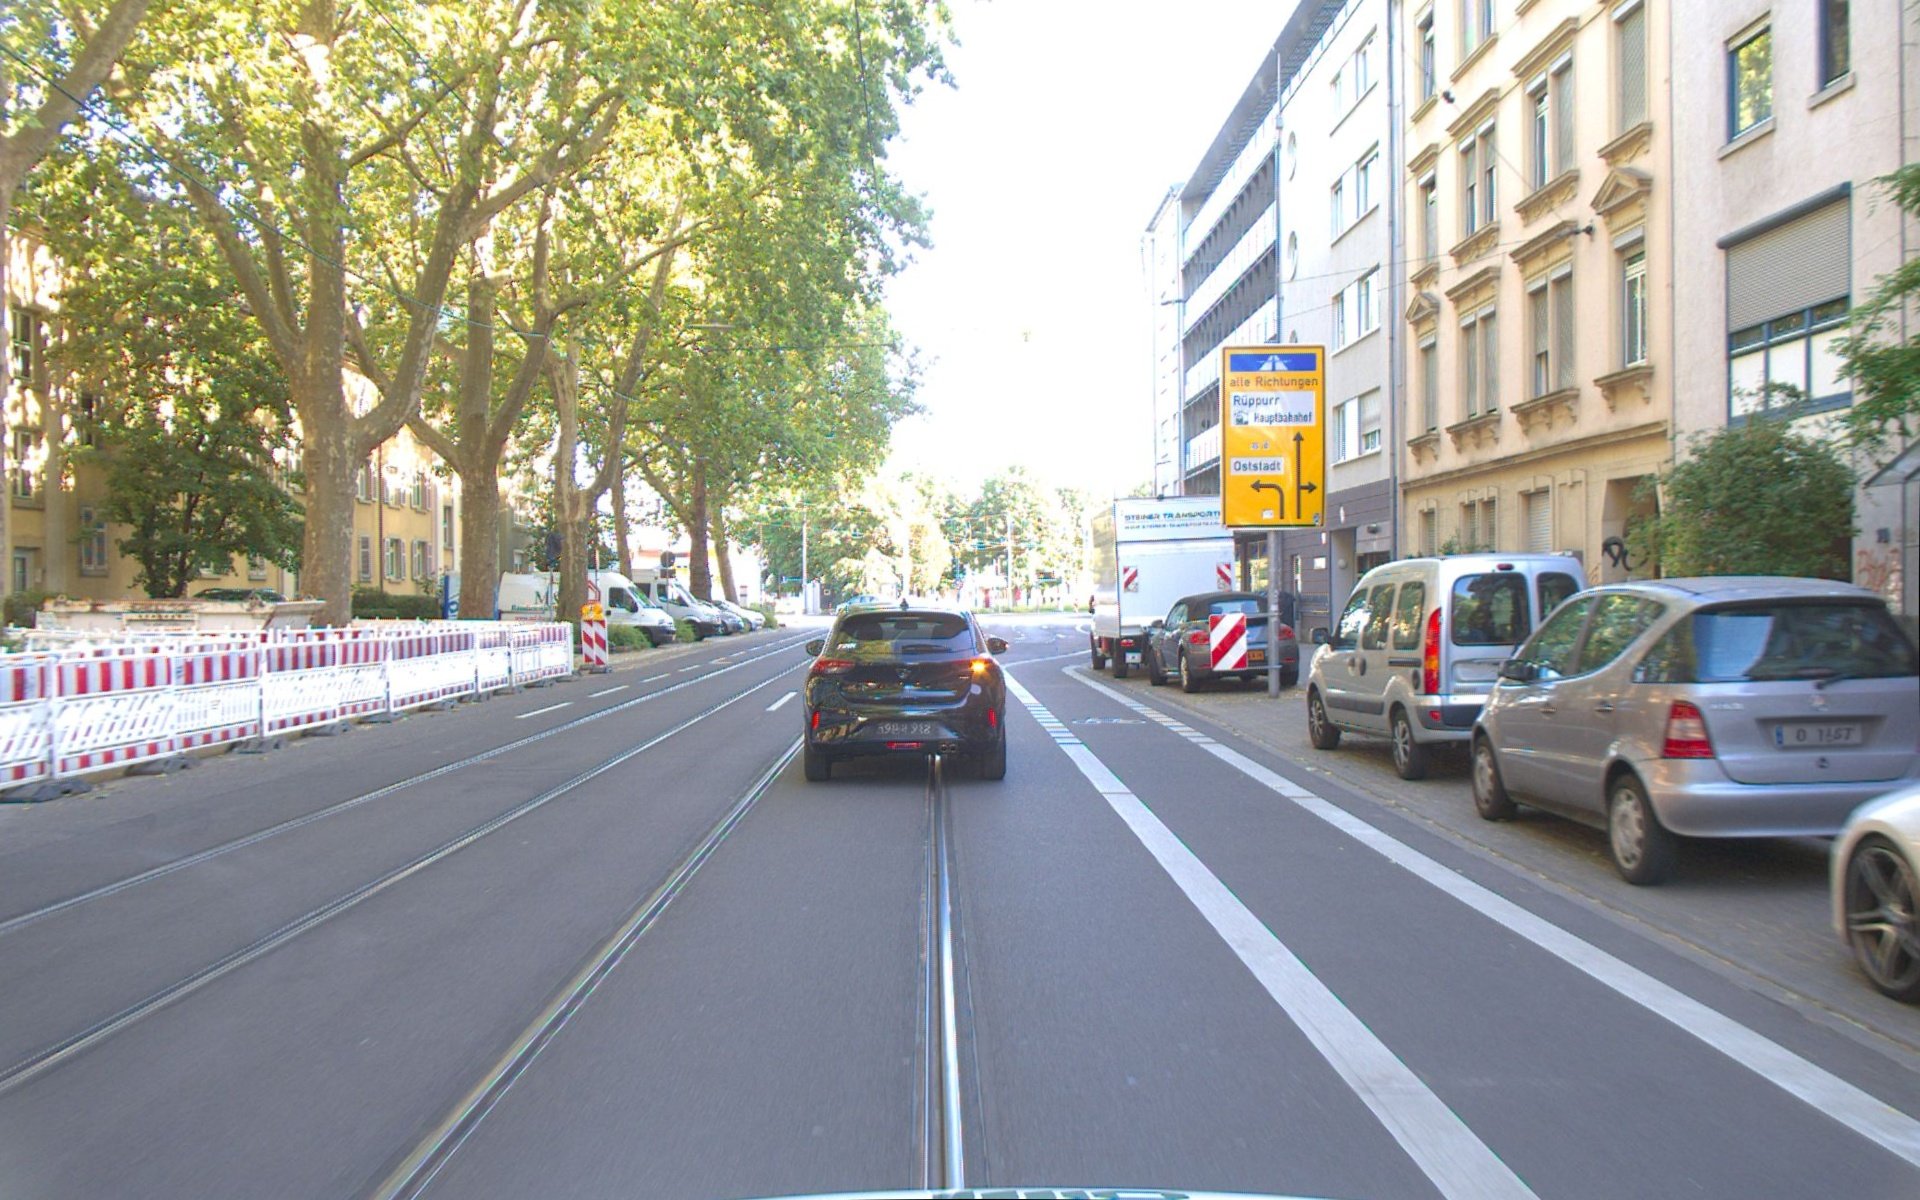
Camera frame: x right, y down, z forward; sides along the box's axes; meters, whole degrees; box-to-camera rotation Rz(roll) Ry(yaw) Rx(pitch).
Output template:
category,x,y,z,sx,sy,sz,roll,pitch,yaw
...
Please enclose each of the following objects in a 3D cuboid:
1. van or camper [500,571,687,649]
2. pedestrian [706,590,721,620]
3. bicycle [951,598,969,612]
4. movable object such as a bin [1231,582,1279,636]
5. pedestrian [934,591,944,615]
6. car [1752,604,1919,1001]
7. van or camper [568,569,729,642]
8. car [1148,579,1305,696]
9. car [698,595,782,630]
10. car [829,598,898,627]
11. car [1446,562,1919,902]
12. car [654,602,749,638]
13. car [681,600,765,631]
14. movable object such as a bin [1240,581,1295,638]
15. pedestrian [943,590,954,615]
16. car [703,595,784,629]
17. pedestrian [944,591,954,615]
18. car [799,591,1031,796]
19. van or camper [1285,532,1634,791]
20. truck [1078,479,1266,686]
category,x,y,z,sx,sy,sz,roll,pitch,yaw
van or camper,-11.644,0.325,52.775,5.387,2.421,2.270,0,0,2
pedestrian,-18.447,0.357,123.565,0.812,2.259,0.888,0,0,-35
bicycle,0.016,0.381,122.323,0.771,1.009,2.245,0,0,15
movable object such as a bin,8.669,0.271,48.606,1.088,1.510,1.387,-3,0,-1
pedestrian,-1.632,0.242,128.184,0.607,1.886,0.580,0,0,43
car,4.363,0.746,4.904,1.626,1.424,4.739,-3,1,-1
van or camper,-11.628,0.199,62.109,5.607,2.690,2.269,0,0,-1
car,4.086,0.535,25.976,1.696,1.584,4.151,-3,0,0
car,-11.197,0.635,84.456,4.086,1.700,1.963,-1,0,-4
car,-6.454,0.861,110.254,1.984,1.725,4.664,-3,1,-43
car,4.281,0.623,9.885,1.626,1.608,3.588,-2,0,0
car,-11.299,0.855,72.508,3.905,1.541,1.650,0,0,0
car,-11.692,0.753,81.707,3.905,1.541,1.650,0,0,0
movable object such as a bin,8.675,0.270,46.732,1.162,1.510,1.595,-3,0,-1
pedestrian,-0.877,0.195,128.824,0.645,1.966,0.608,0,0,31
car,-11.410,0.618,87.333,4.086,1.700,1.963,-1,0,-4
pedestrian,-0.864,0.245,130.544,0.575,1.886,0.613,0,0,-27
car,-0.378,0.693,14.507,1.745,1.522,3.999,0,0,-1
van or camper,4.244,0.451,14.766,1.635,1.915,4.209,-2,0,-2
truck,3.888,-0.308,31.939,2.487,3.396,7.194,-3,0,0
